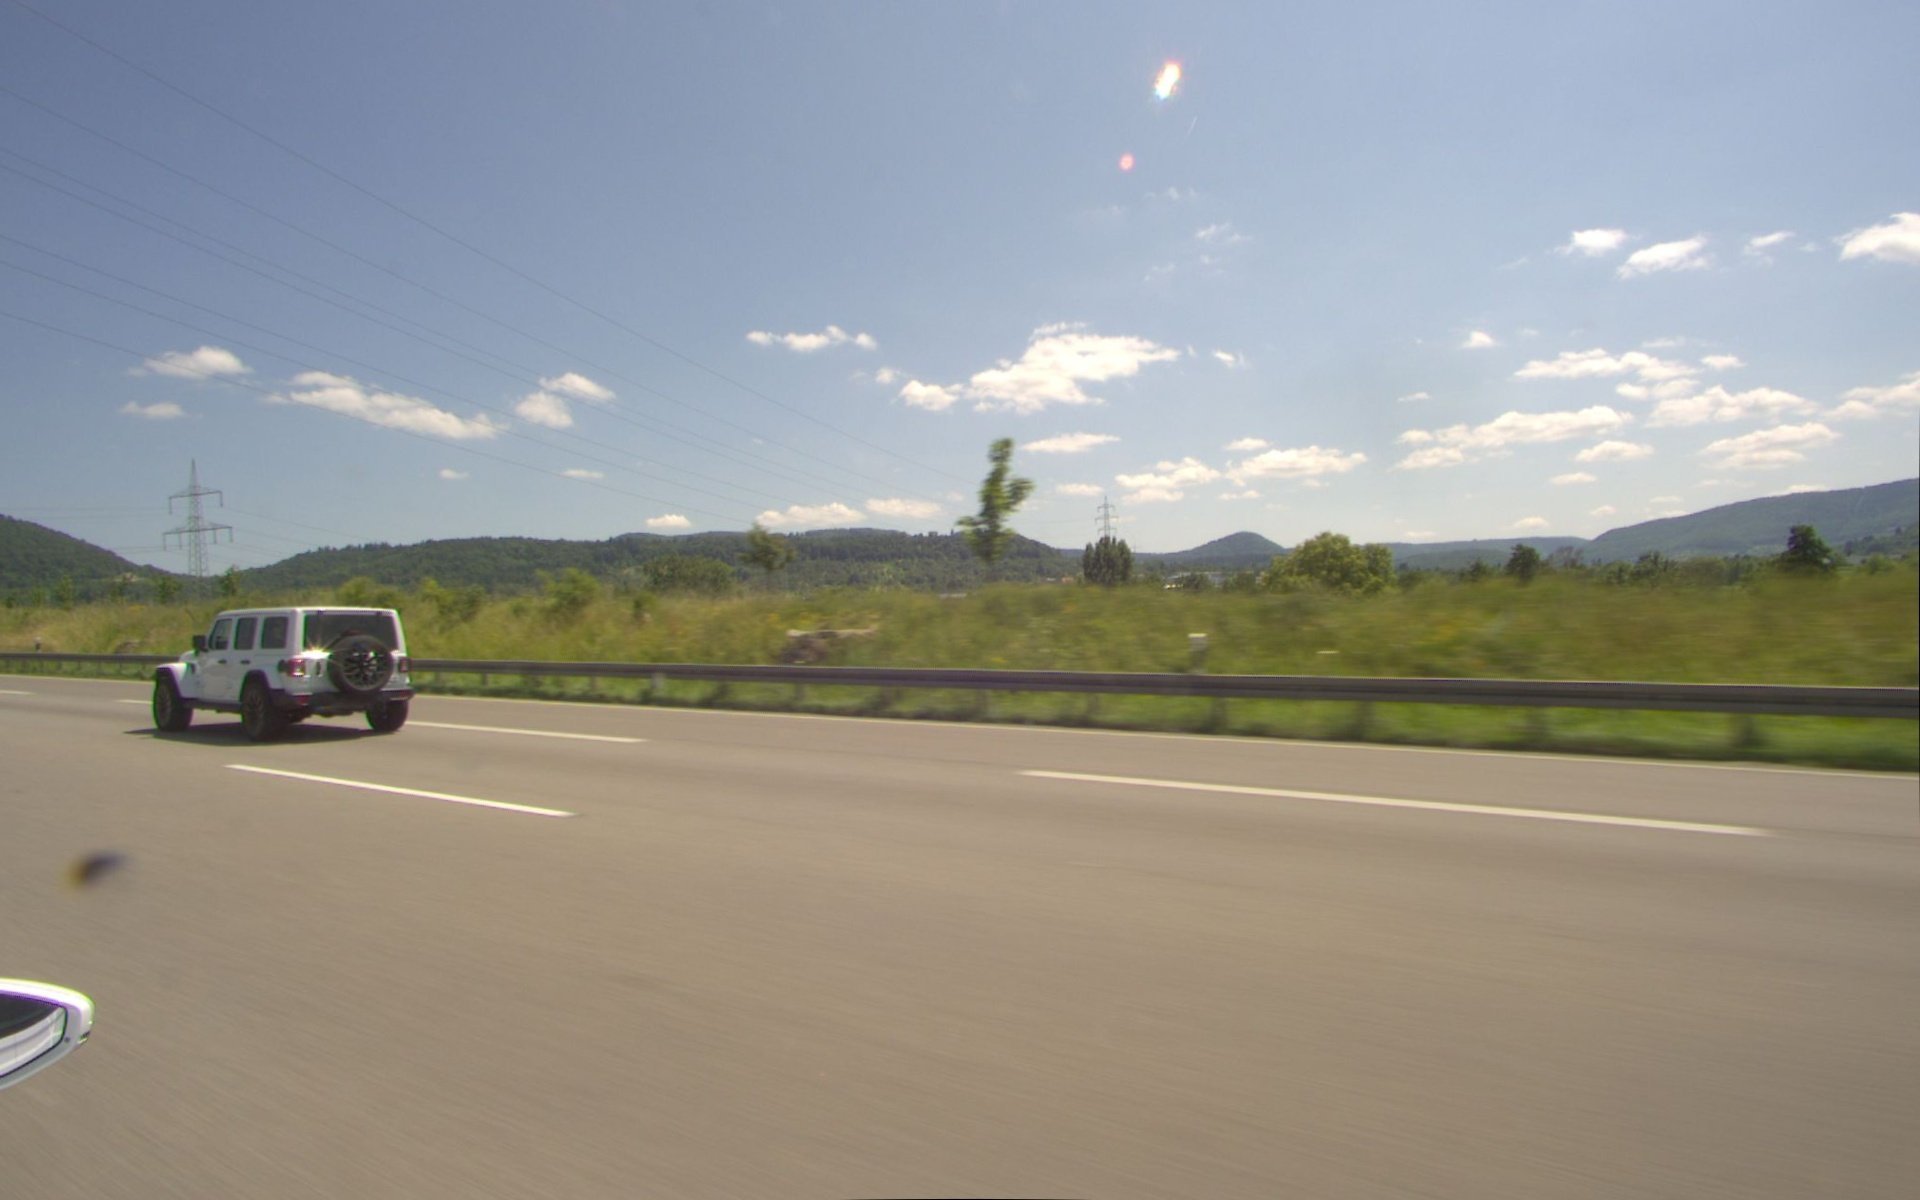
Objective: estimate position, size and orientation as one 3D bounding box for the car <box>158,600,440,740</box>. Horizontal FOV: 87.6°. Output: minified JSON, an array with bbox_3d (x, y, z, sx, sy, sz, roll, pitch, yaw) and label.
[{"bbox_3d":[-10.035,0.994,15.143,4.190,1.827,2.031,-1,-2,33],"label":"car"}]
